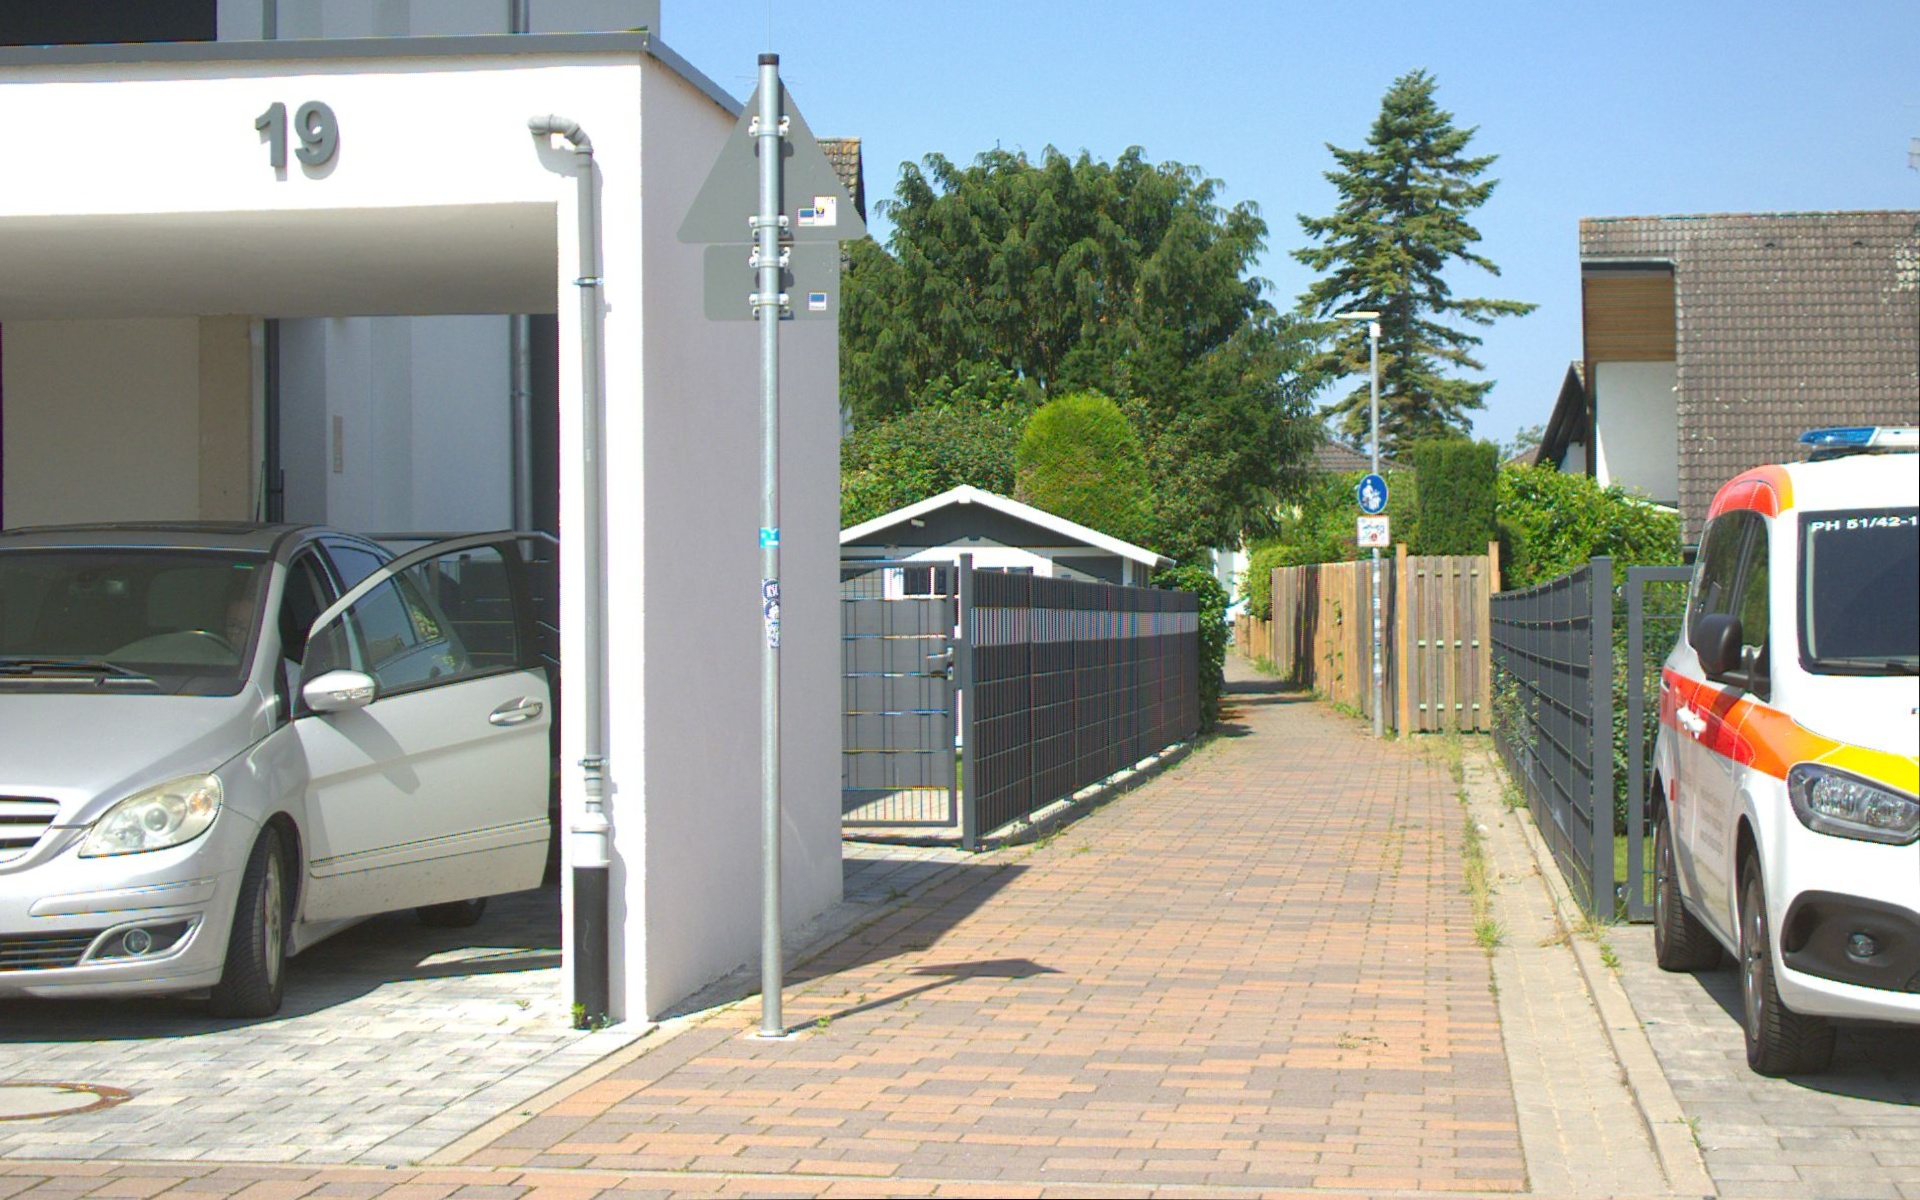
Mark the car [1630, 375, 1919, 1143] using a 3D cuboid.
[{"bbox_3d":[3.243,0.386,10.651,1.932,1.868,4.750,0,0,7],"label":"car"}]

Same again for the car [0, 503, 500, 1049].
[{"bbox_3d":[-2.882,0.509,11.953,1.740,1.557,4.165,0,0,4],"label":"car"}]

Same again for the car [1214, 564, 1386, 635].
[{"bbox_3d":[8.362,-0.014,84.498,4.147,1.711,1.905,0,0,7],"label":"car"}]
